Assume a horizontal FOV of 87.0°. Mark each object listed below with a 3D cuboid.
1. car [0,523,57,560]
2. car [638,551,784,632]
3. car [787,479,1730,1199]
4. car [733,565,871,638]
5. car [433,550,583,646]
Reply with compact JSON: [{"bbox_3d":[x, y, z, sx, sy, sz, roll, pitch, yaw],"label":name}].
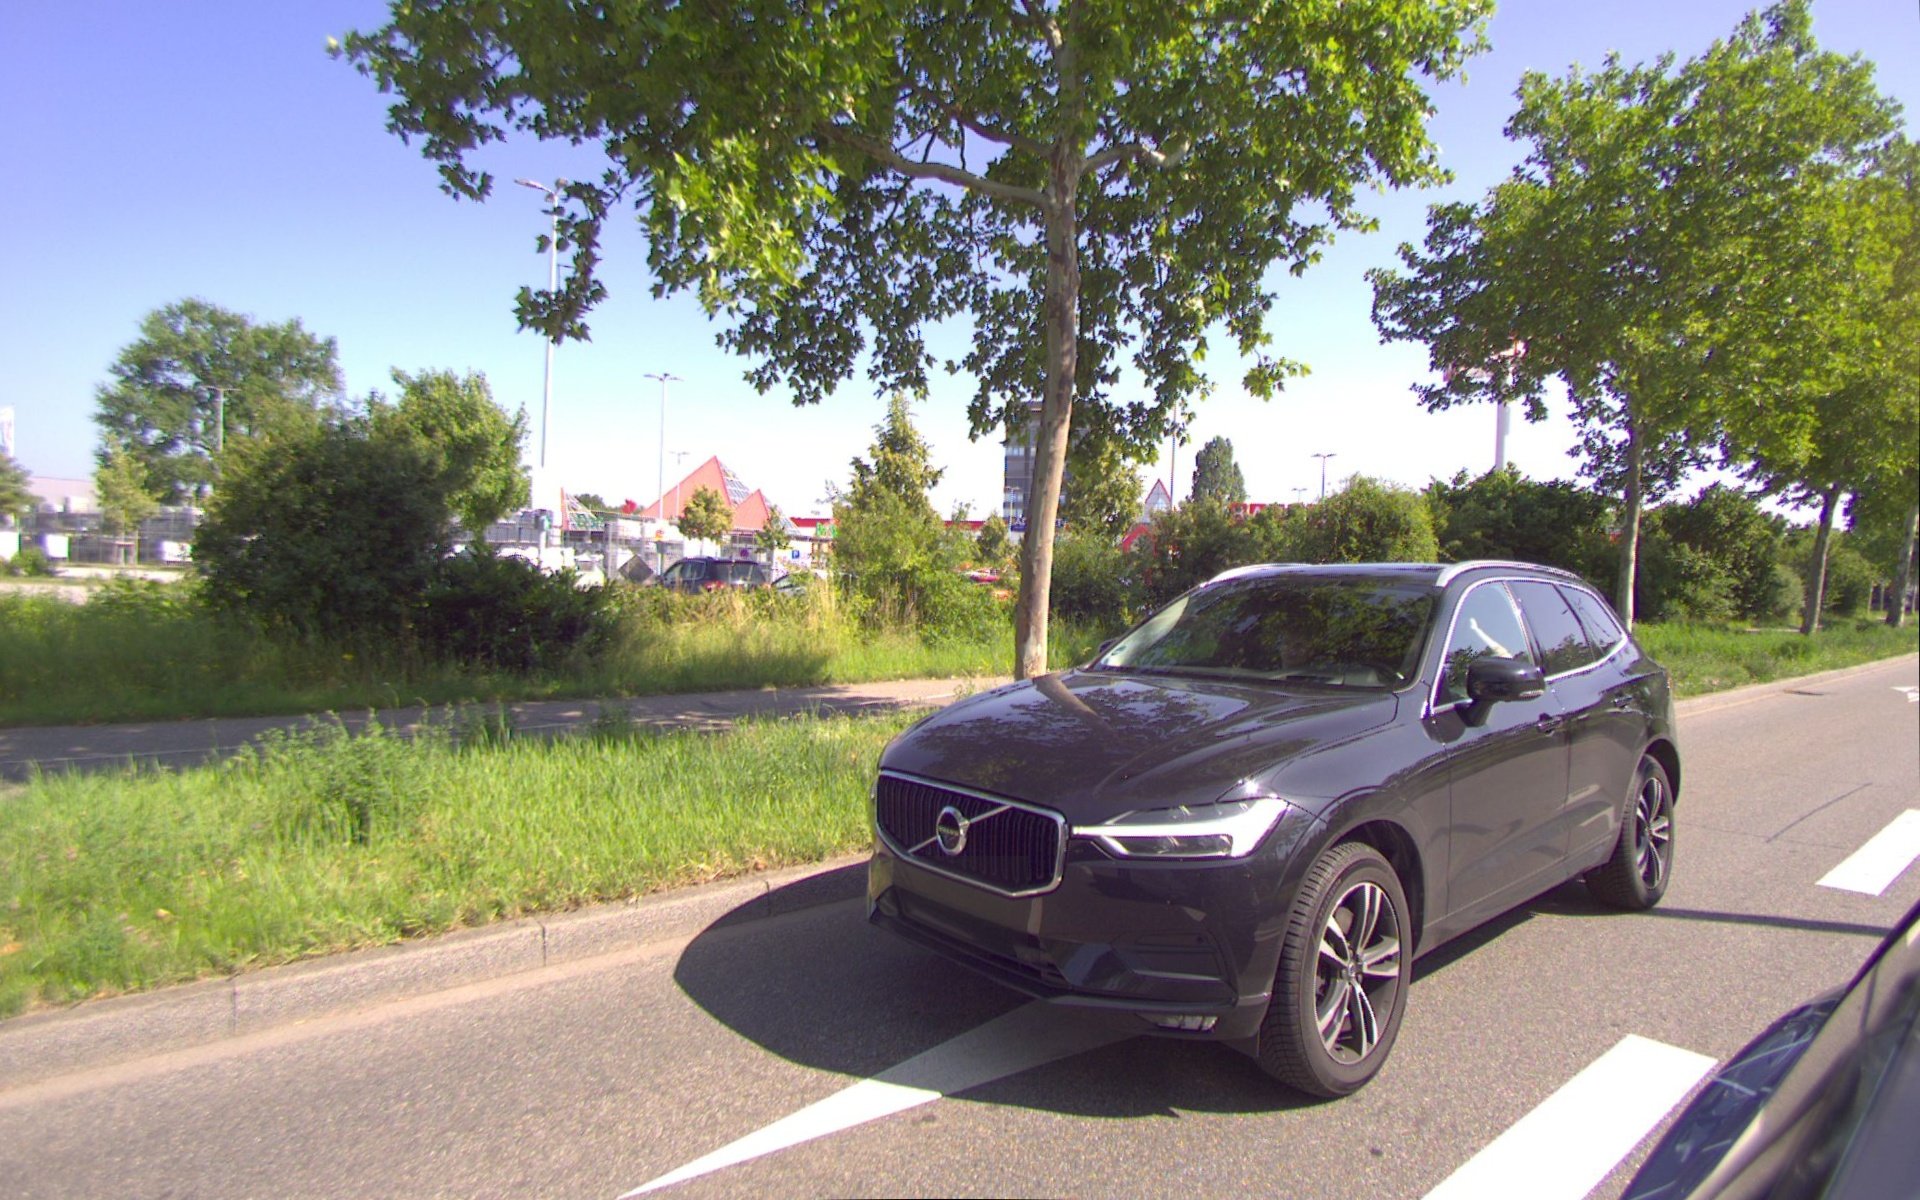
[{"bbox_3d":[-56.396,-3.451,59.672,1.971,2.039,4.370,0,1,15],"label":"car"},{"bbox_3d":[-5.816,-0.213,23.444,3.549,1.717,1.692,1,1,45],"label":"car"},{"bbox_3d":[1.668,0.515,4.503,4.485,1.642,1.923,0,1,-41],"label":"car"},{"bbox_3d":[-4.032,-0.001,25.582,3.549,1.717,1.692,1,1,45],"label":"car"},{"bbox_3d":[-8.947,-0.072,19.916,1.690,1.717,3.552,0,1,-42],"label":"car"}]
